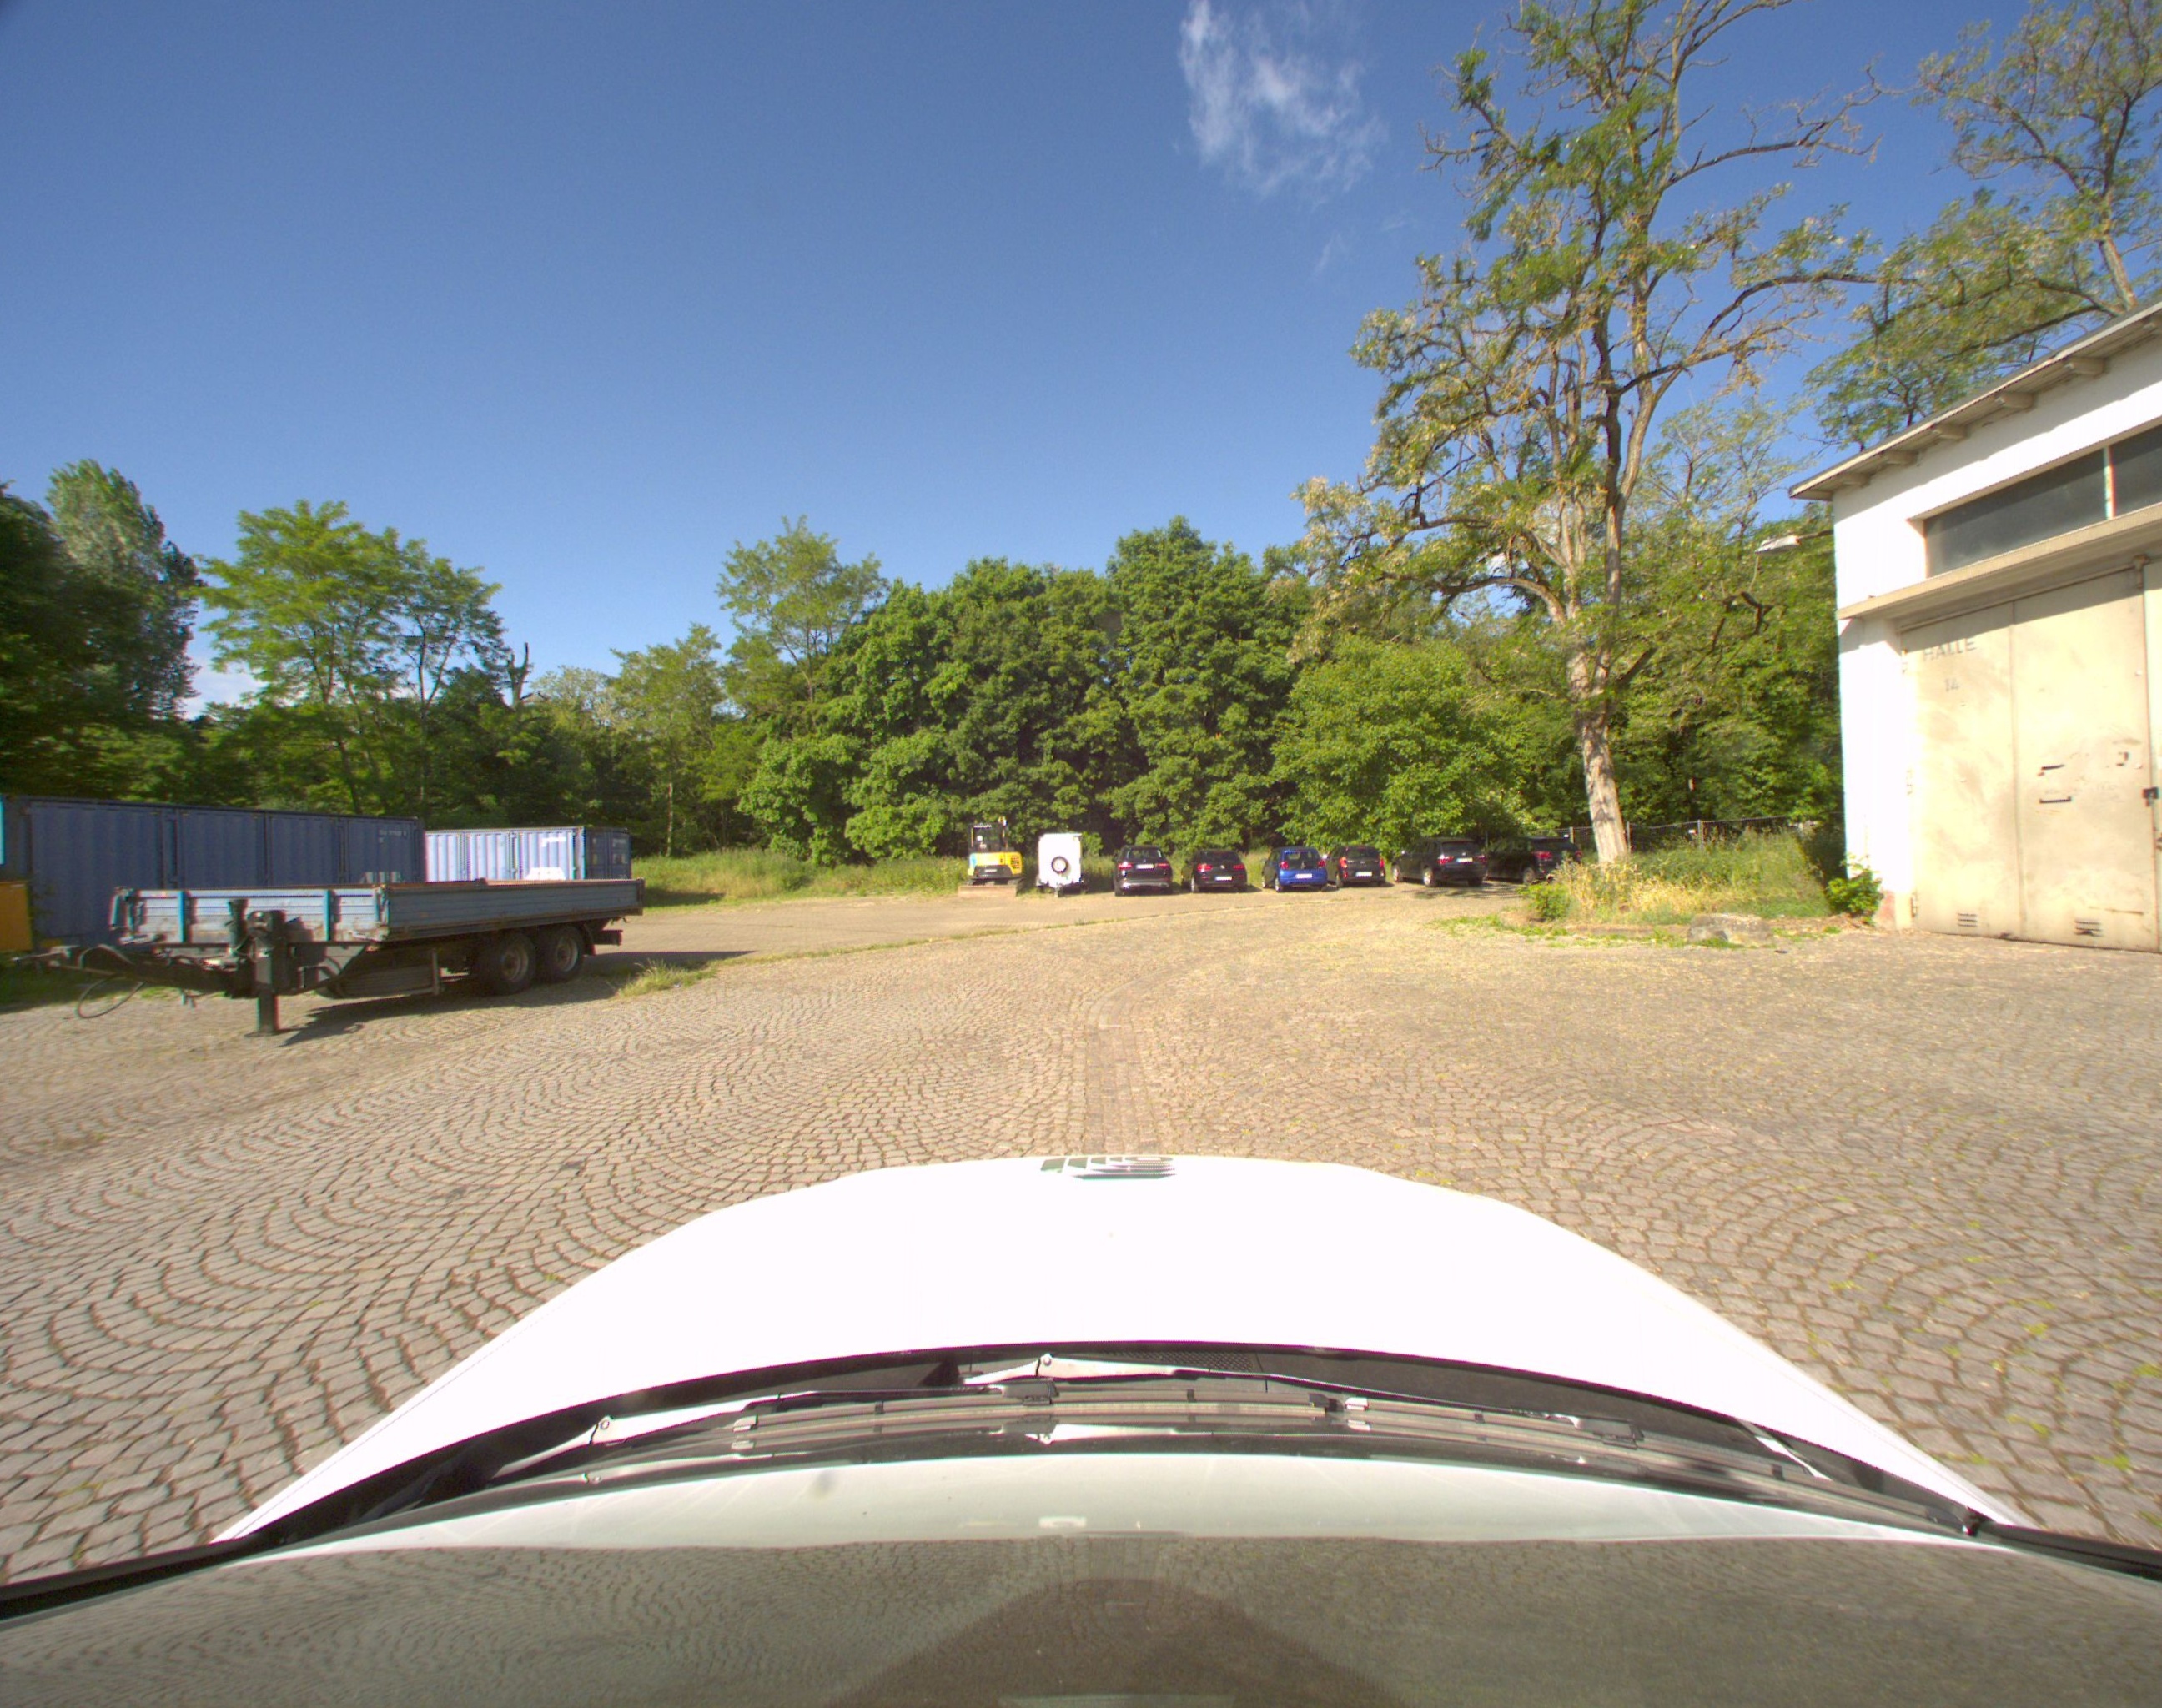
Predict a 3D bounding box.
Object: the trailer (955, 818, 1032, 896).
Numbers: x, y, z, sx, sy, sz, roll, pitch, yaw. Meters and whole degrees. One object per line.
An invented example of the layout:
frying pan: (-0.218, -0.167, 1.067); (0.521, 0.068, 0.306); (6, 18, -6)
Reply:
trailer: (-3.020, 0.041, 28.787); (2.250, 2.538, 2.853); (-1, 3, 2)

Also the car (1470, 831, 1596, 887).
car: (15.535, 0.097, 28.287); (1.820, 1.589, 4.268); (-2, 3, -4)

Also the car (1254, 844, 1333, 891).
car: (7.144, 0.404, 27.711); (1.773, 1.458, 3.792); (-1, 1, 2)

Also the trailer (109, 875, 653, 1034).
trailer: (-8.075, 1.038, 10.333); (2.631, 1.414, 4.862); (-1, -1, 1)

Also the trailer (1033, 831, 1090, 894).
trailer: (-0.634, 0.268, 28.557); (1.811, 2.050, 2.852); (-1, 1, 2)

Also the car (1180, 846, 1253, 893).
car: (4.522, 0.471, 27.638); (1.883, 1.411, 3.790); (-1, 1, 1)

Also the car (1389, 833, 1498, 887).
car: (12.475, 0.153, 28.338); (1.868, 1.630, 4.273); (-1, 2, 0)

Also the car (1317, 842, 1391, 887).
car: (9.591, 0.321, 28.911); (1.730, 1.451, 3.732); (-1, 1, 6)

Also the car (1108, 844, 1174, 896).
car: (1.947, 0.466, 27.459); (1.957, 1.589, 4.132); (-1, 1, 1)
